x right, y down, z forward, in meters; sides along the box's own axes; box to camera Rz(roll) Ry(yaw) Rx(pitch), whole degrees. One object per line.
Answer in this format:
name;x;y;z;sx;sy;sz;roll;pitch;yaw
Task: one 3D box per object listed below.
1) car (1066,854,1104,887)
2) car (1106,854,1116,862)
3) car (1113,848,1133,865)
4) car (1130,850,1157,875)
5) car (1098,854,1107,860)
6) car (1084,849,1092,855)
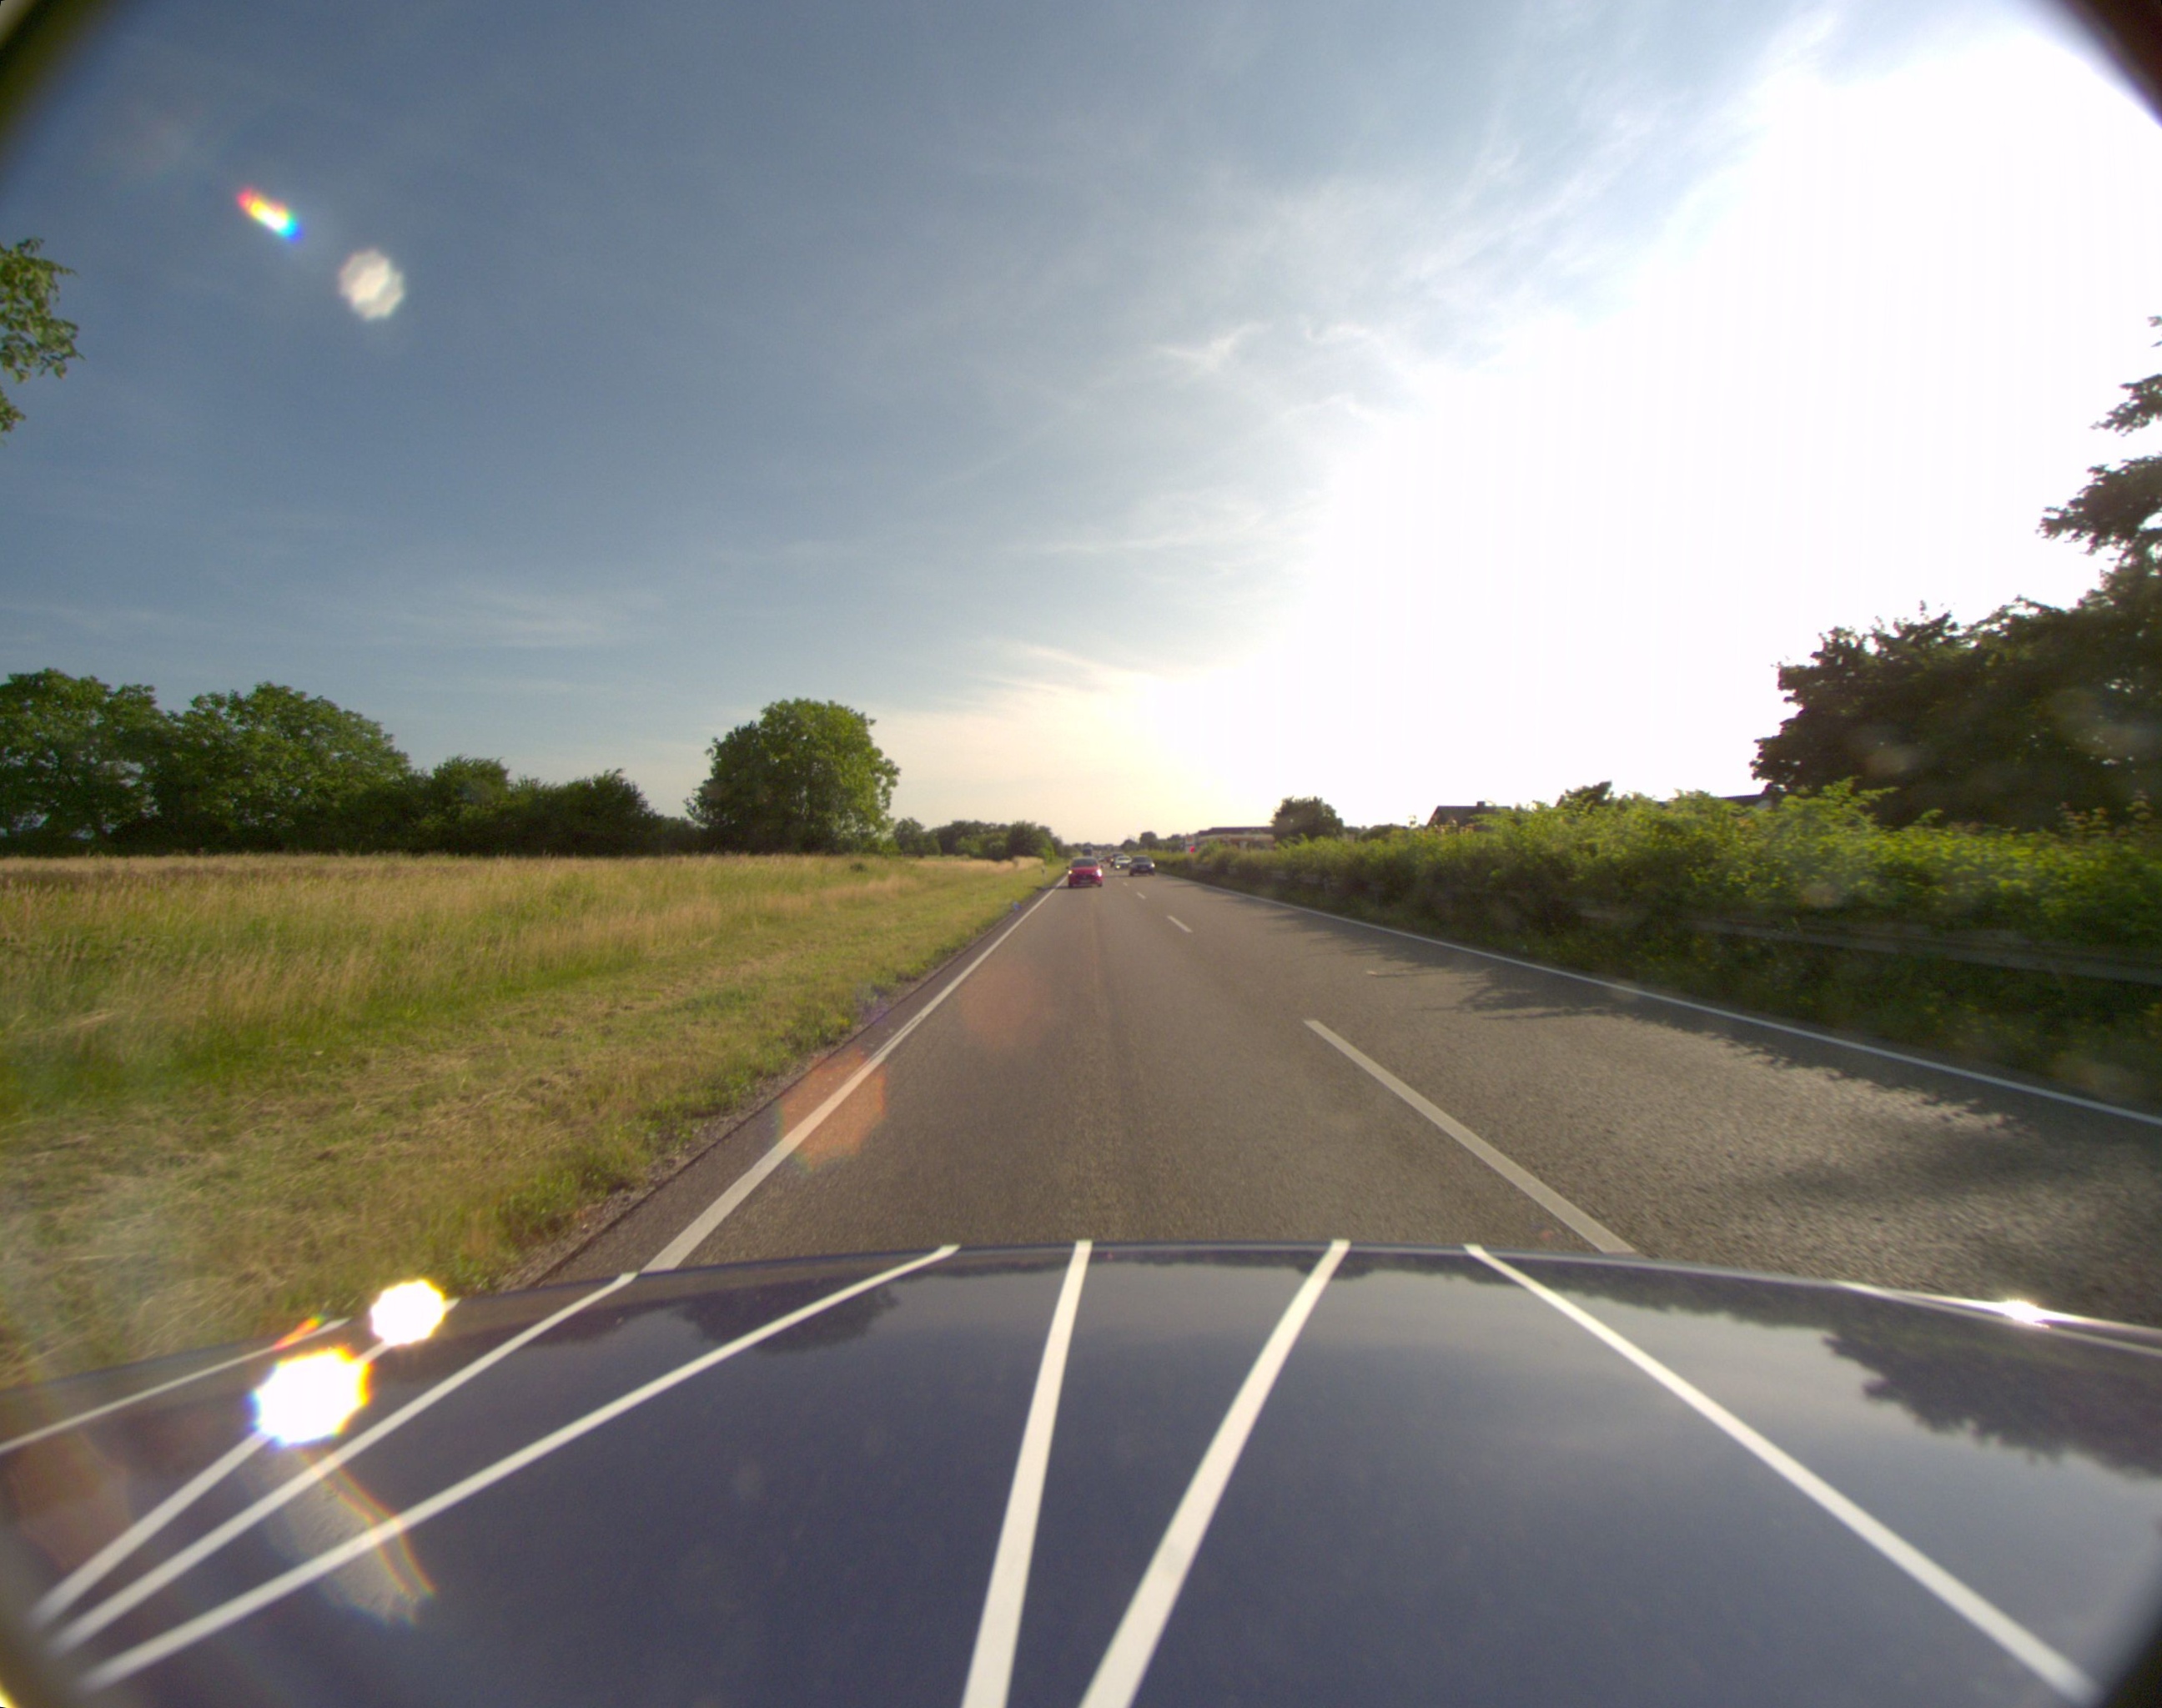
car;0.259;0.806;39.186;1.821;1.565;4.000;-2;1;2
car;6.041;0.785;152.841;1.998;1.412;4.000;-2;0;2
car;4.510;0.266;81.695;1.998;1.762;4.000;-2;1;2
car;4.568;0.576;55.769;1.693;1.695;4.000;-2;1;1
car;5.168;0.759;180.778;1.998;1.412;4.000;-2;0;2
car;2.056;-0.591;216.616;1.998;1.412;4.000;-2;0;2
